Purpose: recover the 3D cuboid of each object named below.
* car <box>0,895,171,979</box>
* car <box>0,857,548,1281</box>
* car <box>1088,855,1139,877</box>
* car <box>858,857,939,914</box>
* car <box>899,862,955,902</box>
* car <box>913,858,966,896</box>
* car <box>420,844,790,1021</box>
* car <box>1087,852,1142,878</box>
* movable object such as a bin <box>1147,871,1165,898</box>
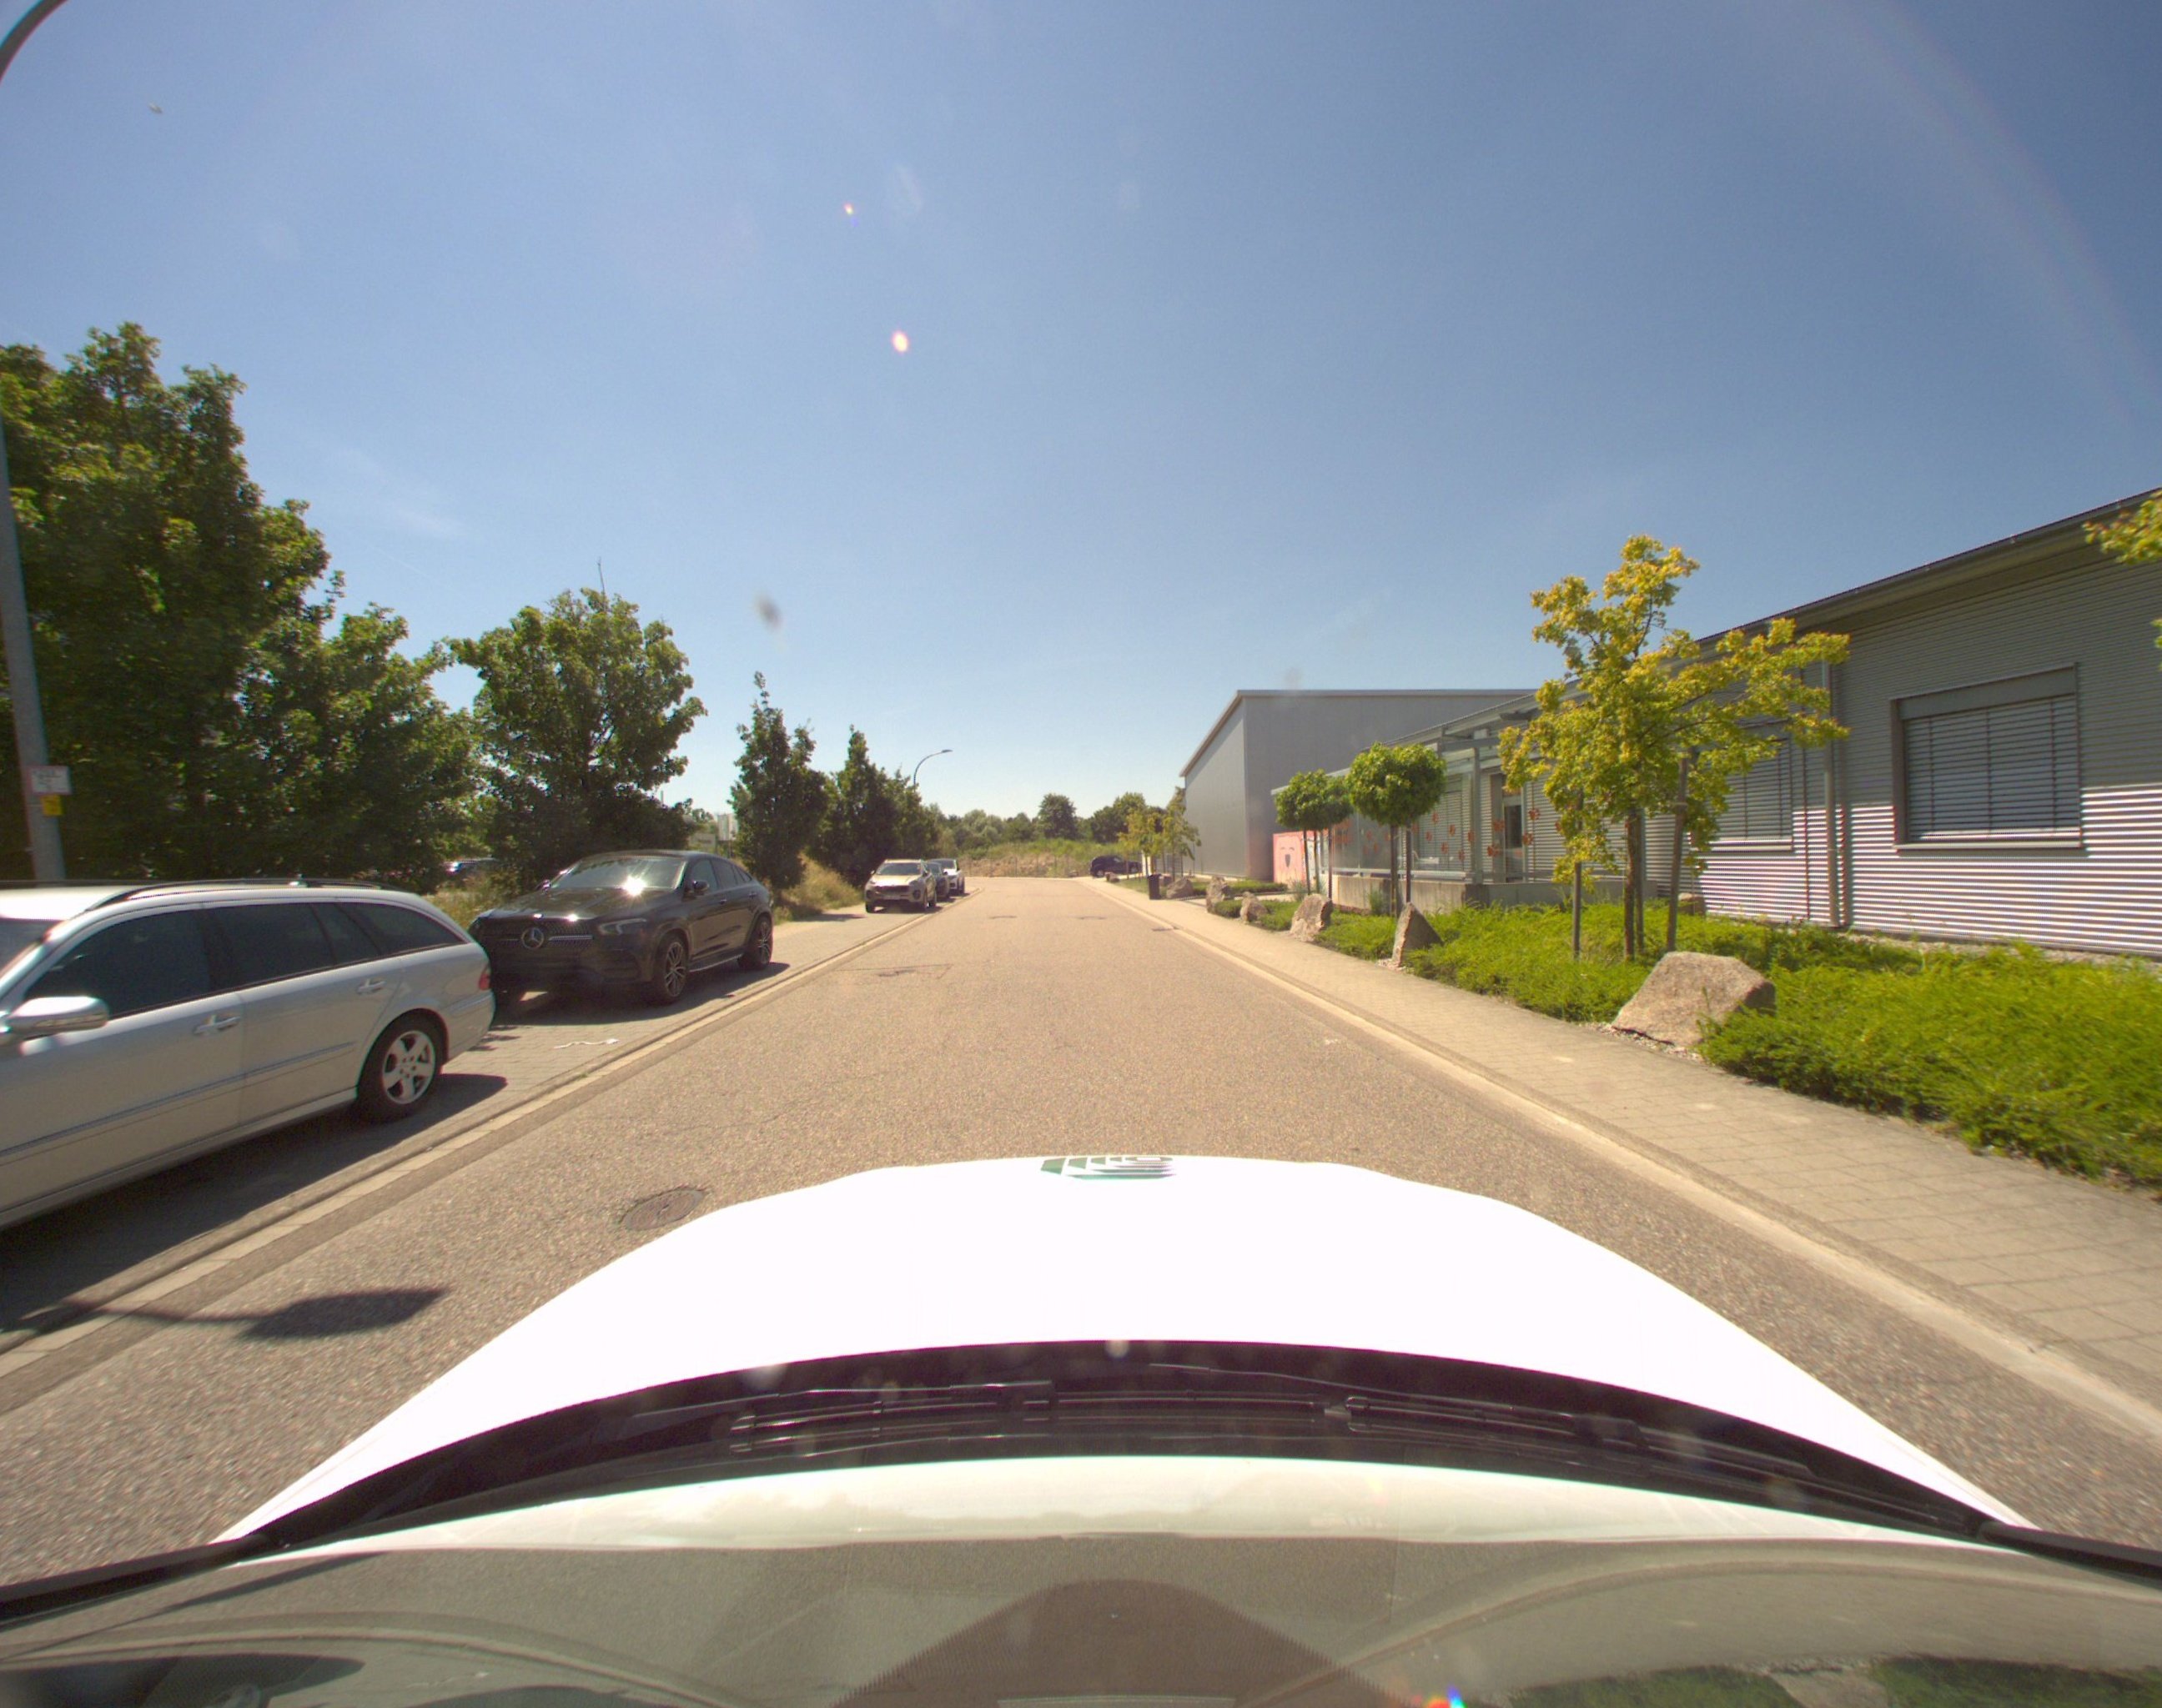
[{"bbox_3d":[-19.750,1.547,15.430,1.428,1.352,3.235,-2,0,-3],"label":"car"},{"bbox_3d":[-4.903,0.778,3.794,1.849,1.519,5.156,0,0,-6],"label":"car"},{"bbox_3d":[2.644,0.989,67.063,4.003,1.462,1.889,-4,0,-5],"label":"car"},{"bbox_3d":[-5.888,0.945,26.806,1.908,1.713,4.407,0,0,-4],"label":"car"},{"bbox_3d":[-6.229,1.100,33.366,1.910,1.491,4.403,0,0,-6],"label":"car"},{"bbox_3d":[-6.681,1.039,38.985,1.908,1.655,4.748,-2,0,-4],"label":"car"},{"bbox_3d":[-5.514,0.758,10.425,1.987,1.713,5.001,0,0,-3],"label":"car"},{"bbox_3d":[2.636,0.850,64.424,4.003,1.655,1.855,-6,0,-4],"label":"car"},{"bbox_3d":[2.737,1.113,29.739,0.557,0.946,0.538,-2,-1,-5],"label":"movable object such as a bin"}]
